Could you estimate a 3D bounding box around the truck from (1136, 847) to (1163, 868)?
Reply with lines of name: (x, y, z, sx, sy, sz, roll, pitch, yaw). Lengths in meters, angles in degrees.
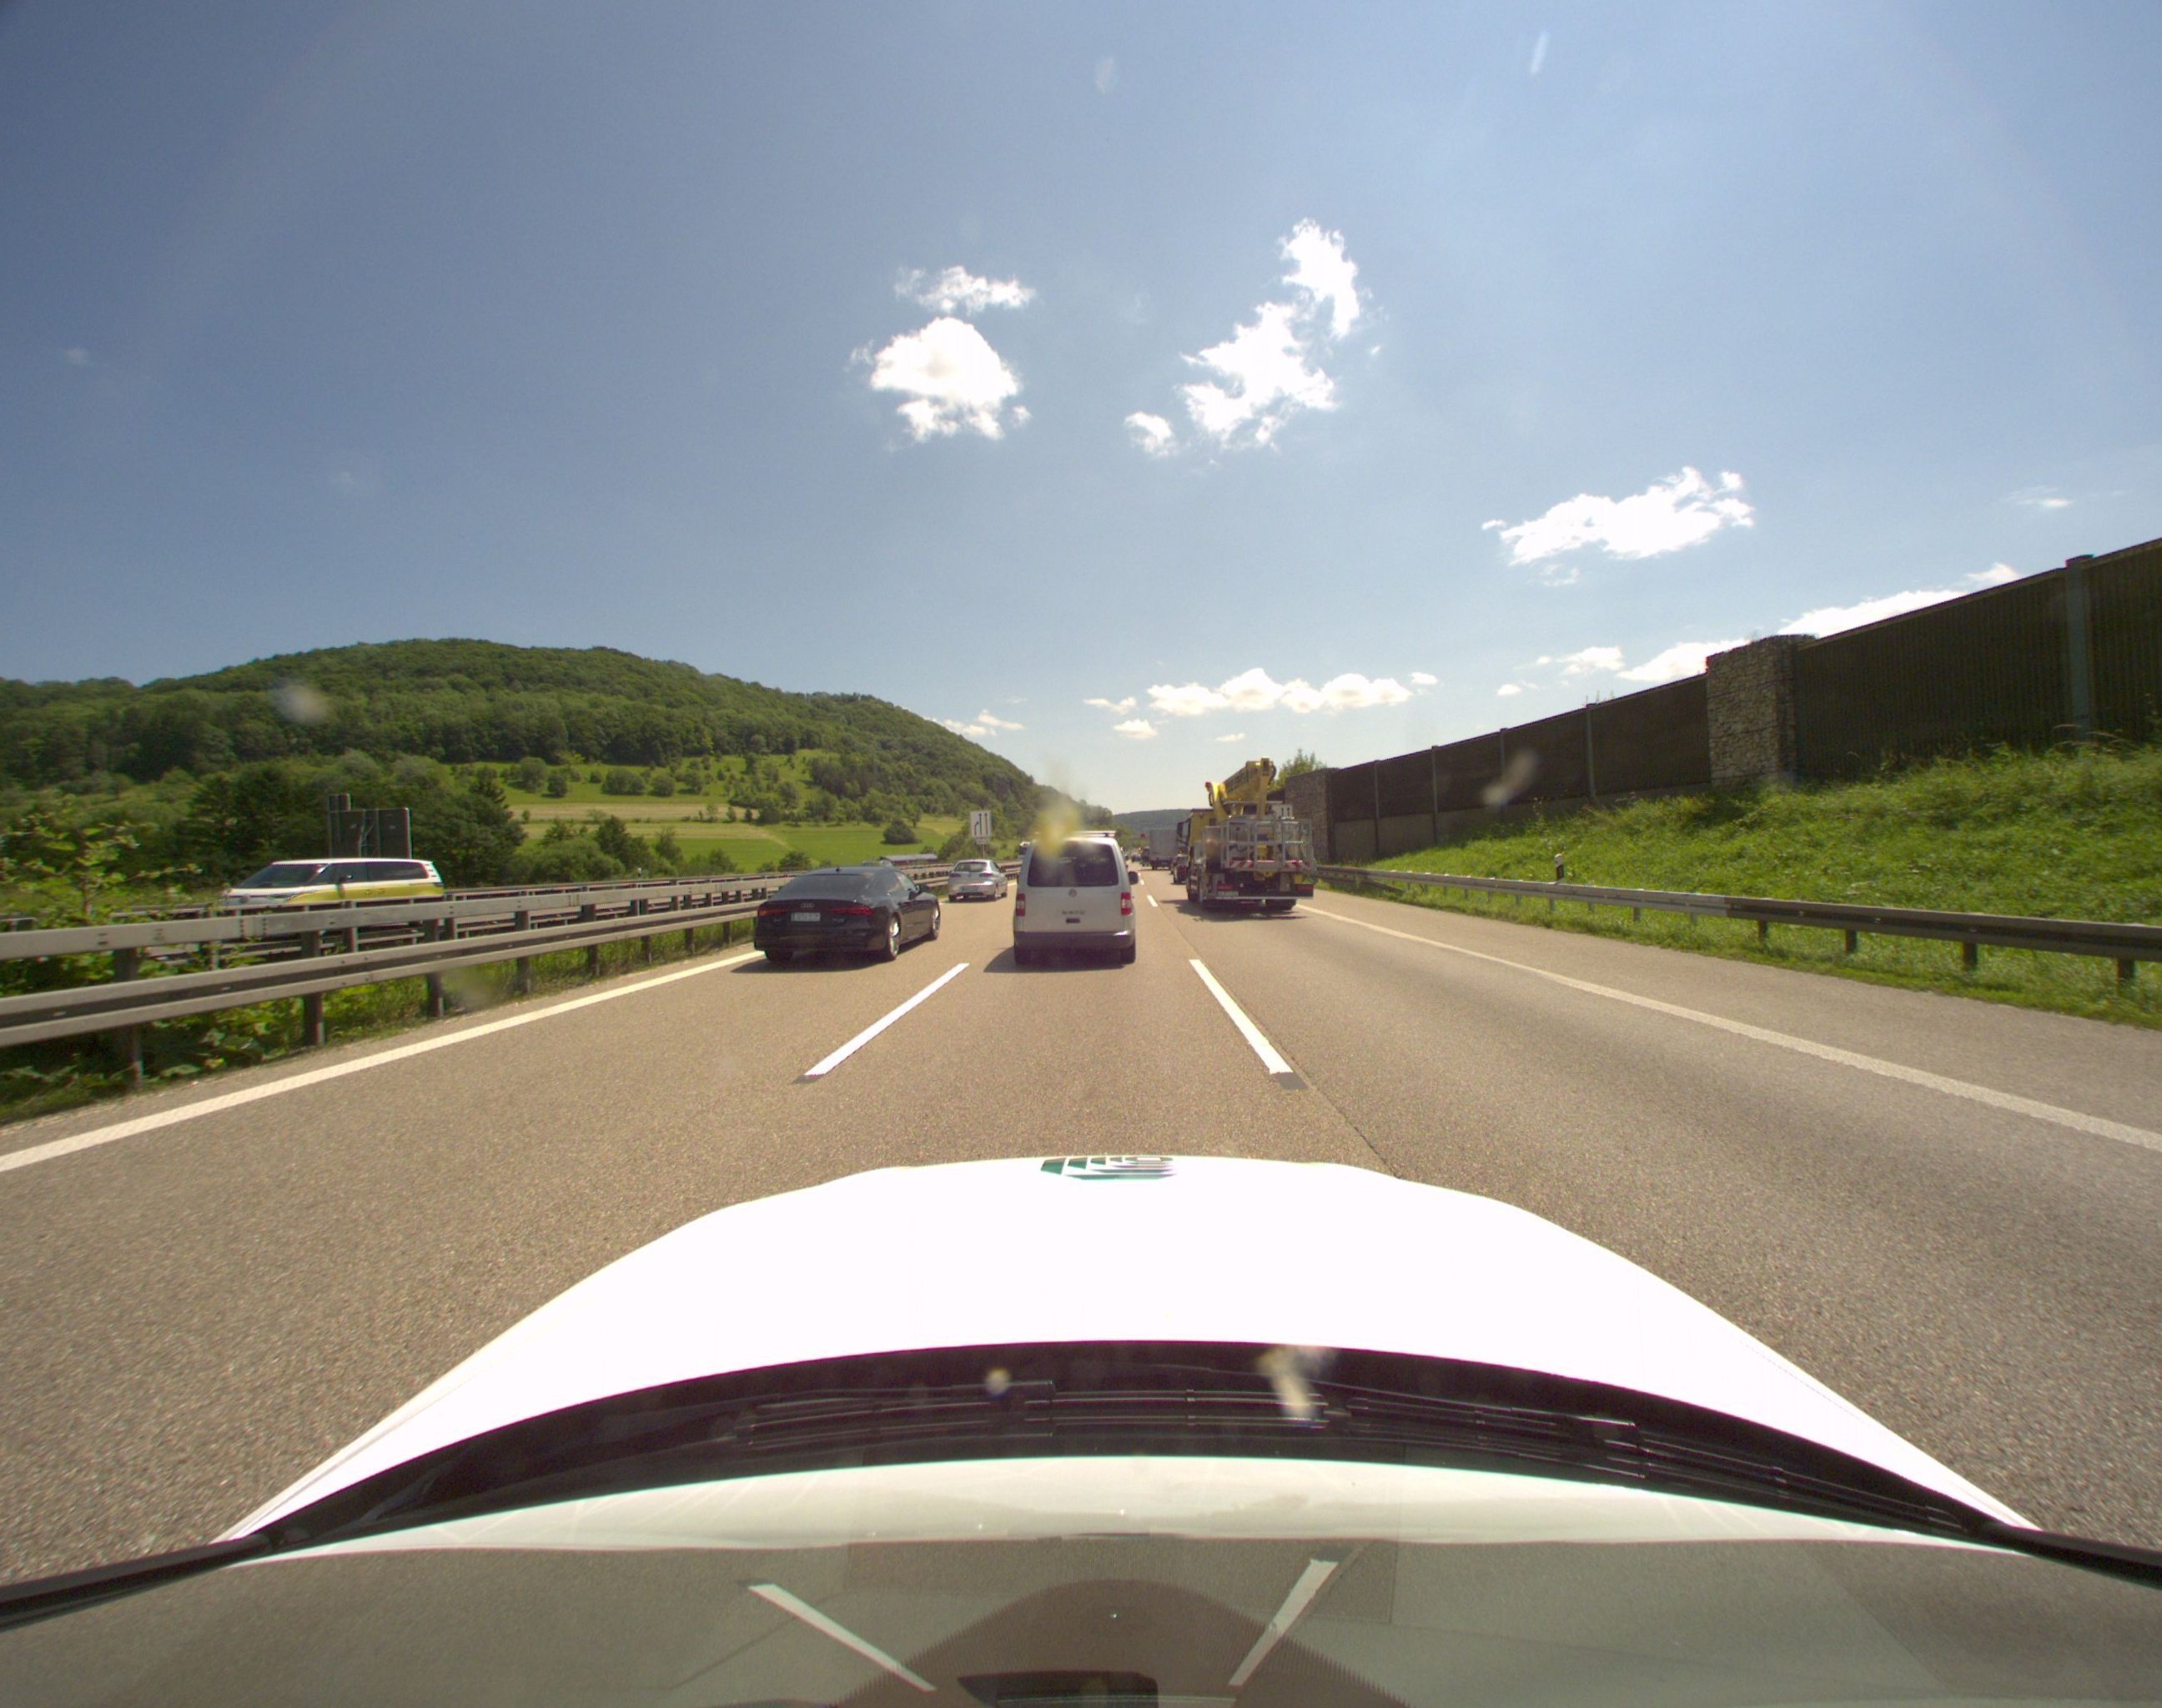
truck: (8.712, 0.438, 102.432, 2.373, 2.541, 5.962, -1, 0, 14)

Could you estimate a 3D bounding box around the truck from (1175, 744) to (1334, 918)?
truck: (4.496, -0.520, 23.119, 2.694, 3.942, 8.722, -1, 0, 1)

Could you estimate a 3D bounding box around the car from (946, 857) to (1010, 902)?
car: (-3.570, 0.842, 28.794, 1.690, 1.445, 3.862, -1, 0, 1)

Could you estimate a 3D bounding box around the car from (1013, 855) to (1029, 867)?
car: (-8.568, 1.037, 116.968, 1.842, 1.609, 4.080, -1, 0, 2)

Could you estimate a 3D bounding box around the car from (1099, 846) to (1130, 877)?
car: (2.268, 0.496, 55.979, 1.987, 1.975, 4.000, -1, 0, 1)

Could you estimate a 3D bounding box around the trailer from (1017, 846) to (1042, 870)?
trailer: (-9.418, 0.806, 150.816, 2.842, 4.191, 13.627, 0, -1, 4)

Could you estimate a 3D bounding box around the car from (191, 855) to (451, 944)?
car: (-18.740, 1.008, 20.474, 2.052, 1.941, 4.662, -1, 0, 2)

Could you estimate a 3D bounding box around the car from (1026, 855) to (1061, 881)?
car: (-2.286, 0.846, 50.359, 1.918, 1.499, 4.000, -1, 0, 1)

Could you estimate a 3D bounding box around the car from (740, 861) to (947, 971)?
car: (-3.579, 0.853, 13.343, 1.794, 1.390, 4.970, -1, 0, 1)

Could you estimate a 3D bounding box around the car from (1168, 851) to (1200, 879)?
car: (7.731, 0.784, 61.586, 1.986, 2.013, 4.002, -1, 0, 2)

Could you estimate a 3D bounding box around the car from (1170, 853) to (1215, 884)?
car: (5.610, 0.707, 41.234, 1.780, 1.458, 3.771, -1, 0, 1)

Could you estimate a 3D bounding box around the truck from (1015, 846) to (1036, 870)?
truck: (-9.793, 0.766, 144.861, 2.786, 4.232, 7.237, 0, -1, 3)

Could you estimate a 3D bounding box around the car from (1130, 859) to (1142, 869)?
car: (9.306, 1.728, 138.267, 1.985, 1.749, 4.004, 0, -1, 4)

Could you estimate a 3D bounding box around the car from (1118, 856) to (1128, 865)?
car: (8.762, 1.310, 170.149, 1.986, 1.805, 4.001, 0, -1, 2)

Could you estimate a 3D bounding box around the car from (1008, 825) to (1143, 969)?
car: (-0.049, 0.568, 12.800, 1.750, 1.868, 4.000, -1, 0, 1)

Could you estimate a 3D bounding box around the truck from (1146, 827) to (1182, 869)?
truck: (7.990, -0.491, 79.312, 2.929, 3.823, 8.240, 0, -1, 2)

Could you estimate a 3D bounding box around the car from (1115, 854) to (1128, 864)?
car: (7.415, 0.985, 149.937, 2.107, 1.828, 4.000, 0, -1, 0)
